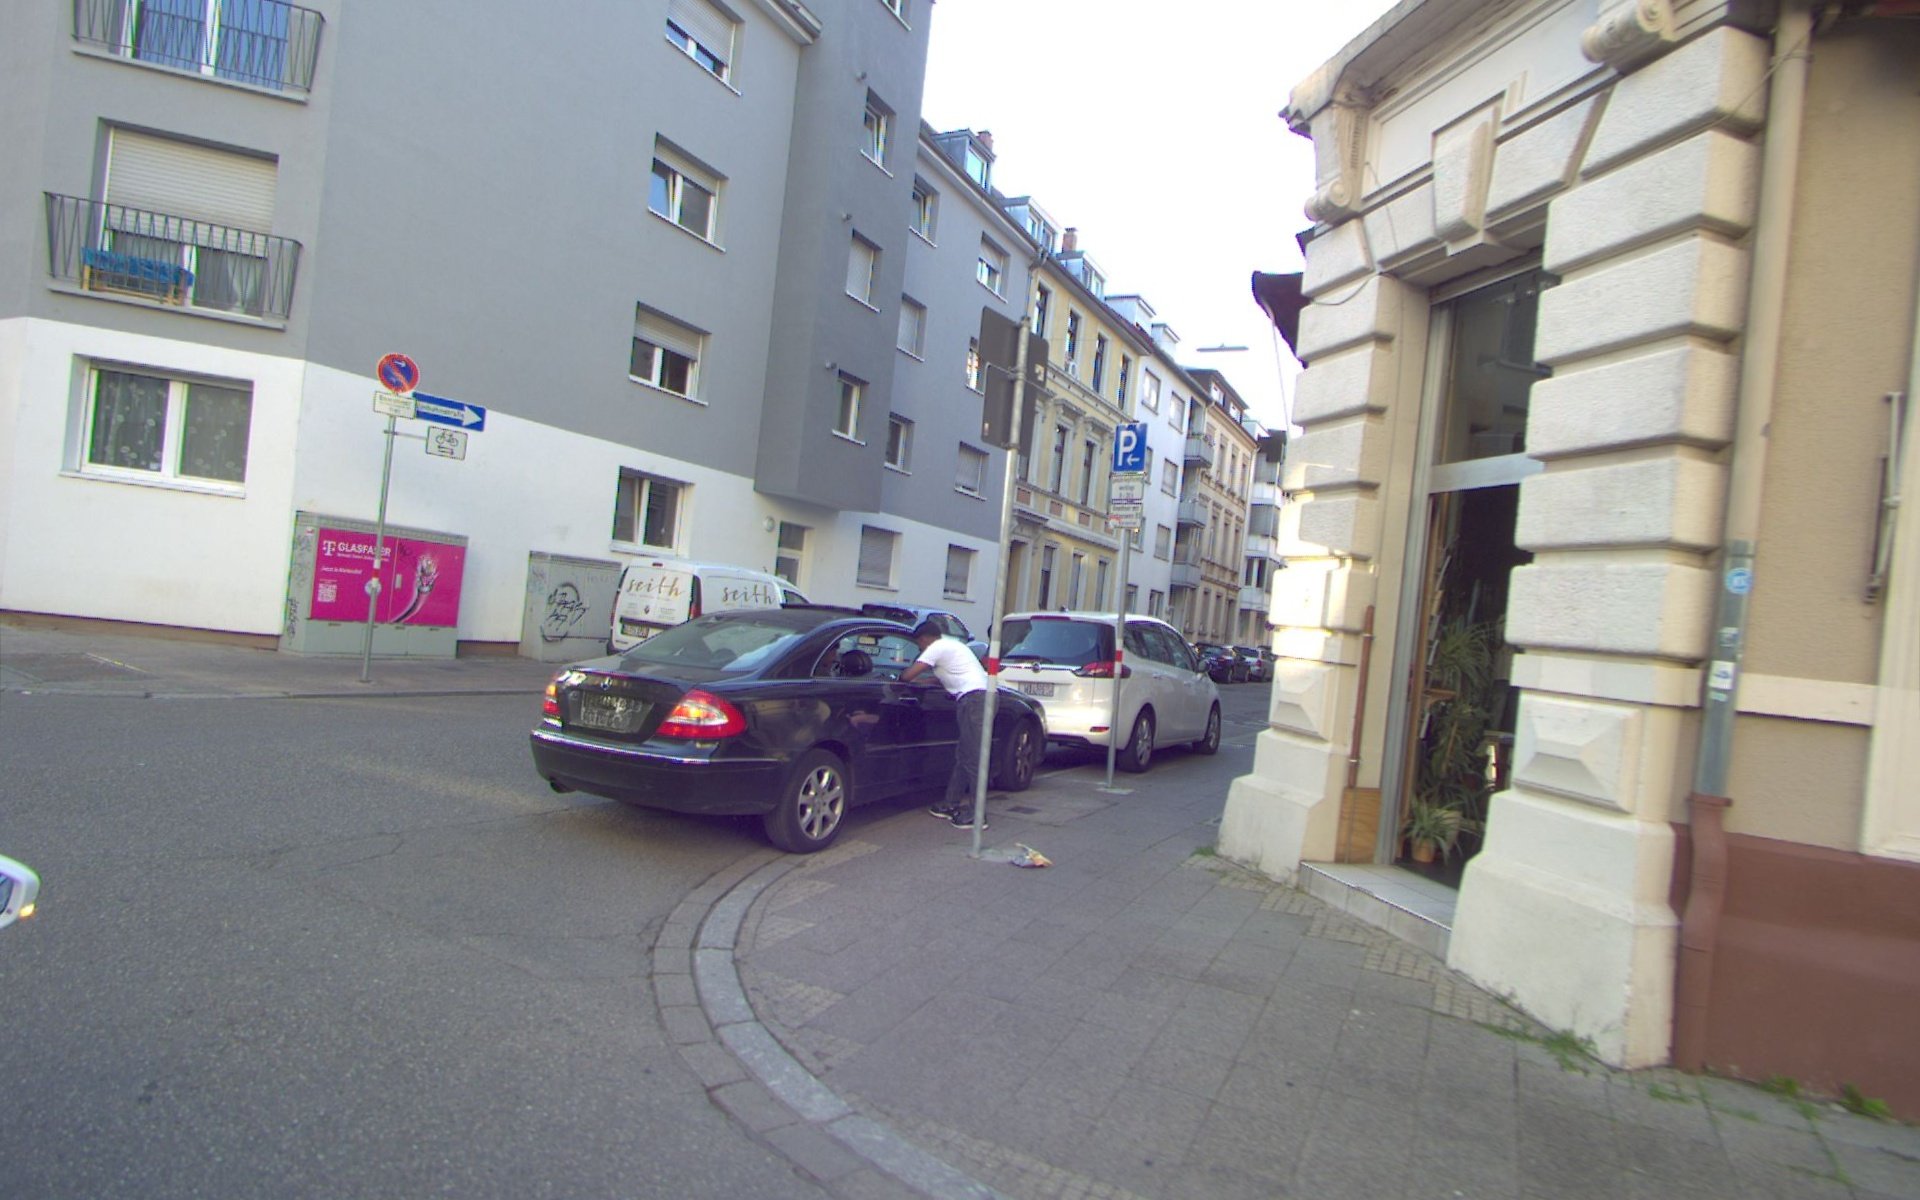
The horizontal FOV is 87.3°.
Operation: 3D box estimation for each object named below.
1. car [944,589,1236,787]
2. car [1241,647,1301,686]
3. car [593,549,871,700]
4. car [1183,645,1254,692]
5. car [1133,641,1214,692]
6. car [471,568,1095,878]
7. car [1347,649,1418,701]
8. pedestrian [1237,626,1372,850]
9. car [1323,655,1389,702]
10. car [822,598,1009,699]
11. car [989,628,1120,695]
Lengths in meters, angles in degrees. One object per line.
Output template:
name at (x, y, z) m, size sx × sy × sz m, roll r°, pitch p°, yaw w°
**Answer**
car at (1.766, 0.988, 11.988) m, size 1.791 × 1.744 × 4.455 m, roll 6°, pitch -1°, yaw 29°
car at (15.755, 3.371, 50.882) m, size 1.966 × 1.682 × 3.971 m, roll 6°, pitch -1°, yaw 30°
car at (-3.245, 0.436, 15.175) m, size 1.608 × 1.836 × 4.180 m, roll 6°, pitch -1°, yaw 28°
car at (10.369, 2.727, 40.126) m, size 1.592 × 1.589 × 4.297 m, roll 6°, pitch -1°, yaw 29°
car at (7.447, 2.304, 34.857) m, size 1.607 × 1.490 × 3.749 m, roll 6°, pitch -1°, yaw 29°
car at (-0.855, 0.769, 7.538) m, size 1.859 × 1.425 × 4.719 m, roll 6°, pitch -1°, yaw 31°
car at (16.799, 2.989, 39.900) m, size 1.966 × 1.753 × 4.053 m, roll 6°, pitch -1°, yaw 30°
pedestrian at (2.537, 0.983, 7.396) m, size 0.704 × 1.489 × 0.580 m, roll 6°, pitch 0°, yaw 29°
car at (13.541, 2.674, 34.331) m, size 1.640 × 1.475 × 3.753 m, roll 0°, pitch -4°, yaw 29°
car at (-0.720, 0.938, 19.690) m, size 1.737 × 1.583 × 4.362 m, roll 6°, pitch 0°, yaw 24°
car at (2.464, 1.587, 25.243) m, size 1.660 × 1.347 × 4.128 m, roll 6°, pitch -2°, yaw 29°
